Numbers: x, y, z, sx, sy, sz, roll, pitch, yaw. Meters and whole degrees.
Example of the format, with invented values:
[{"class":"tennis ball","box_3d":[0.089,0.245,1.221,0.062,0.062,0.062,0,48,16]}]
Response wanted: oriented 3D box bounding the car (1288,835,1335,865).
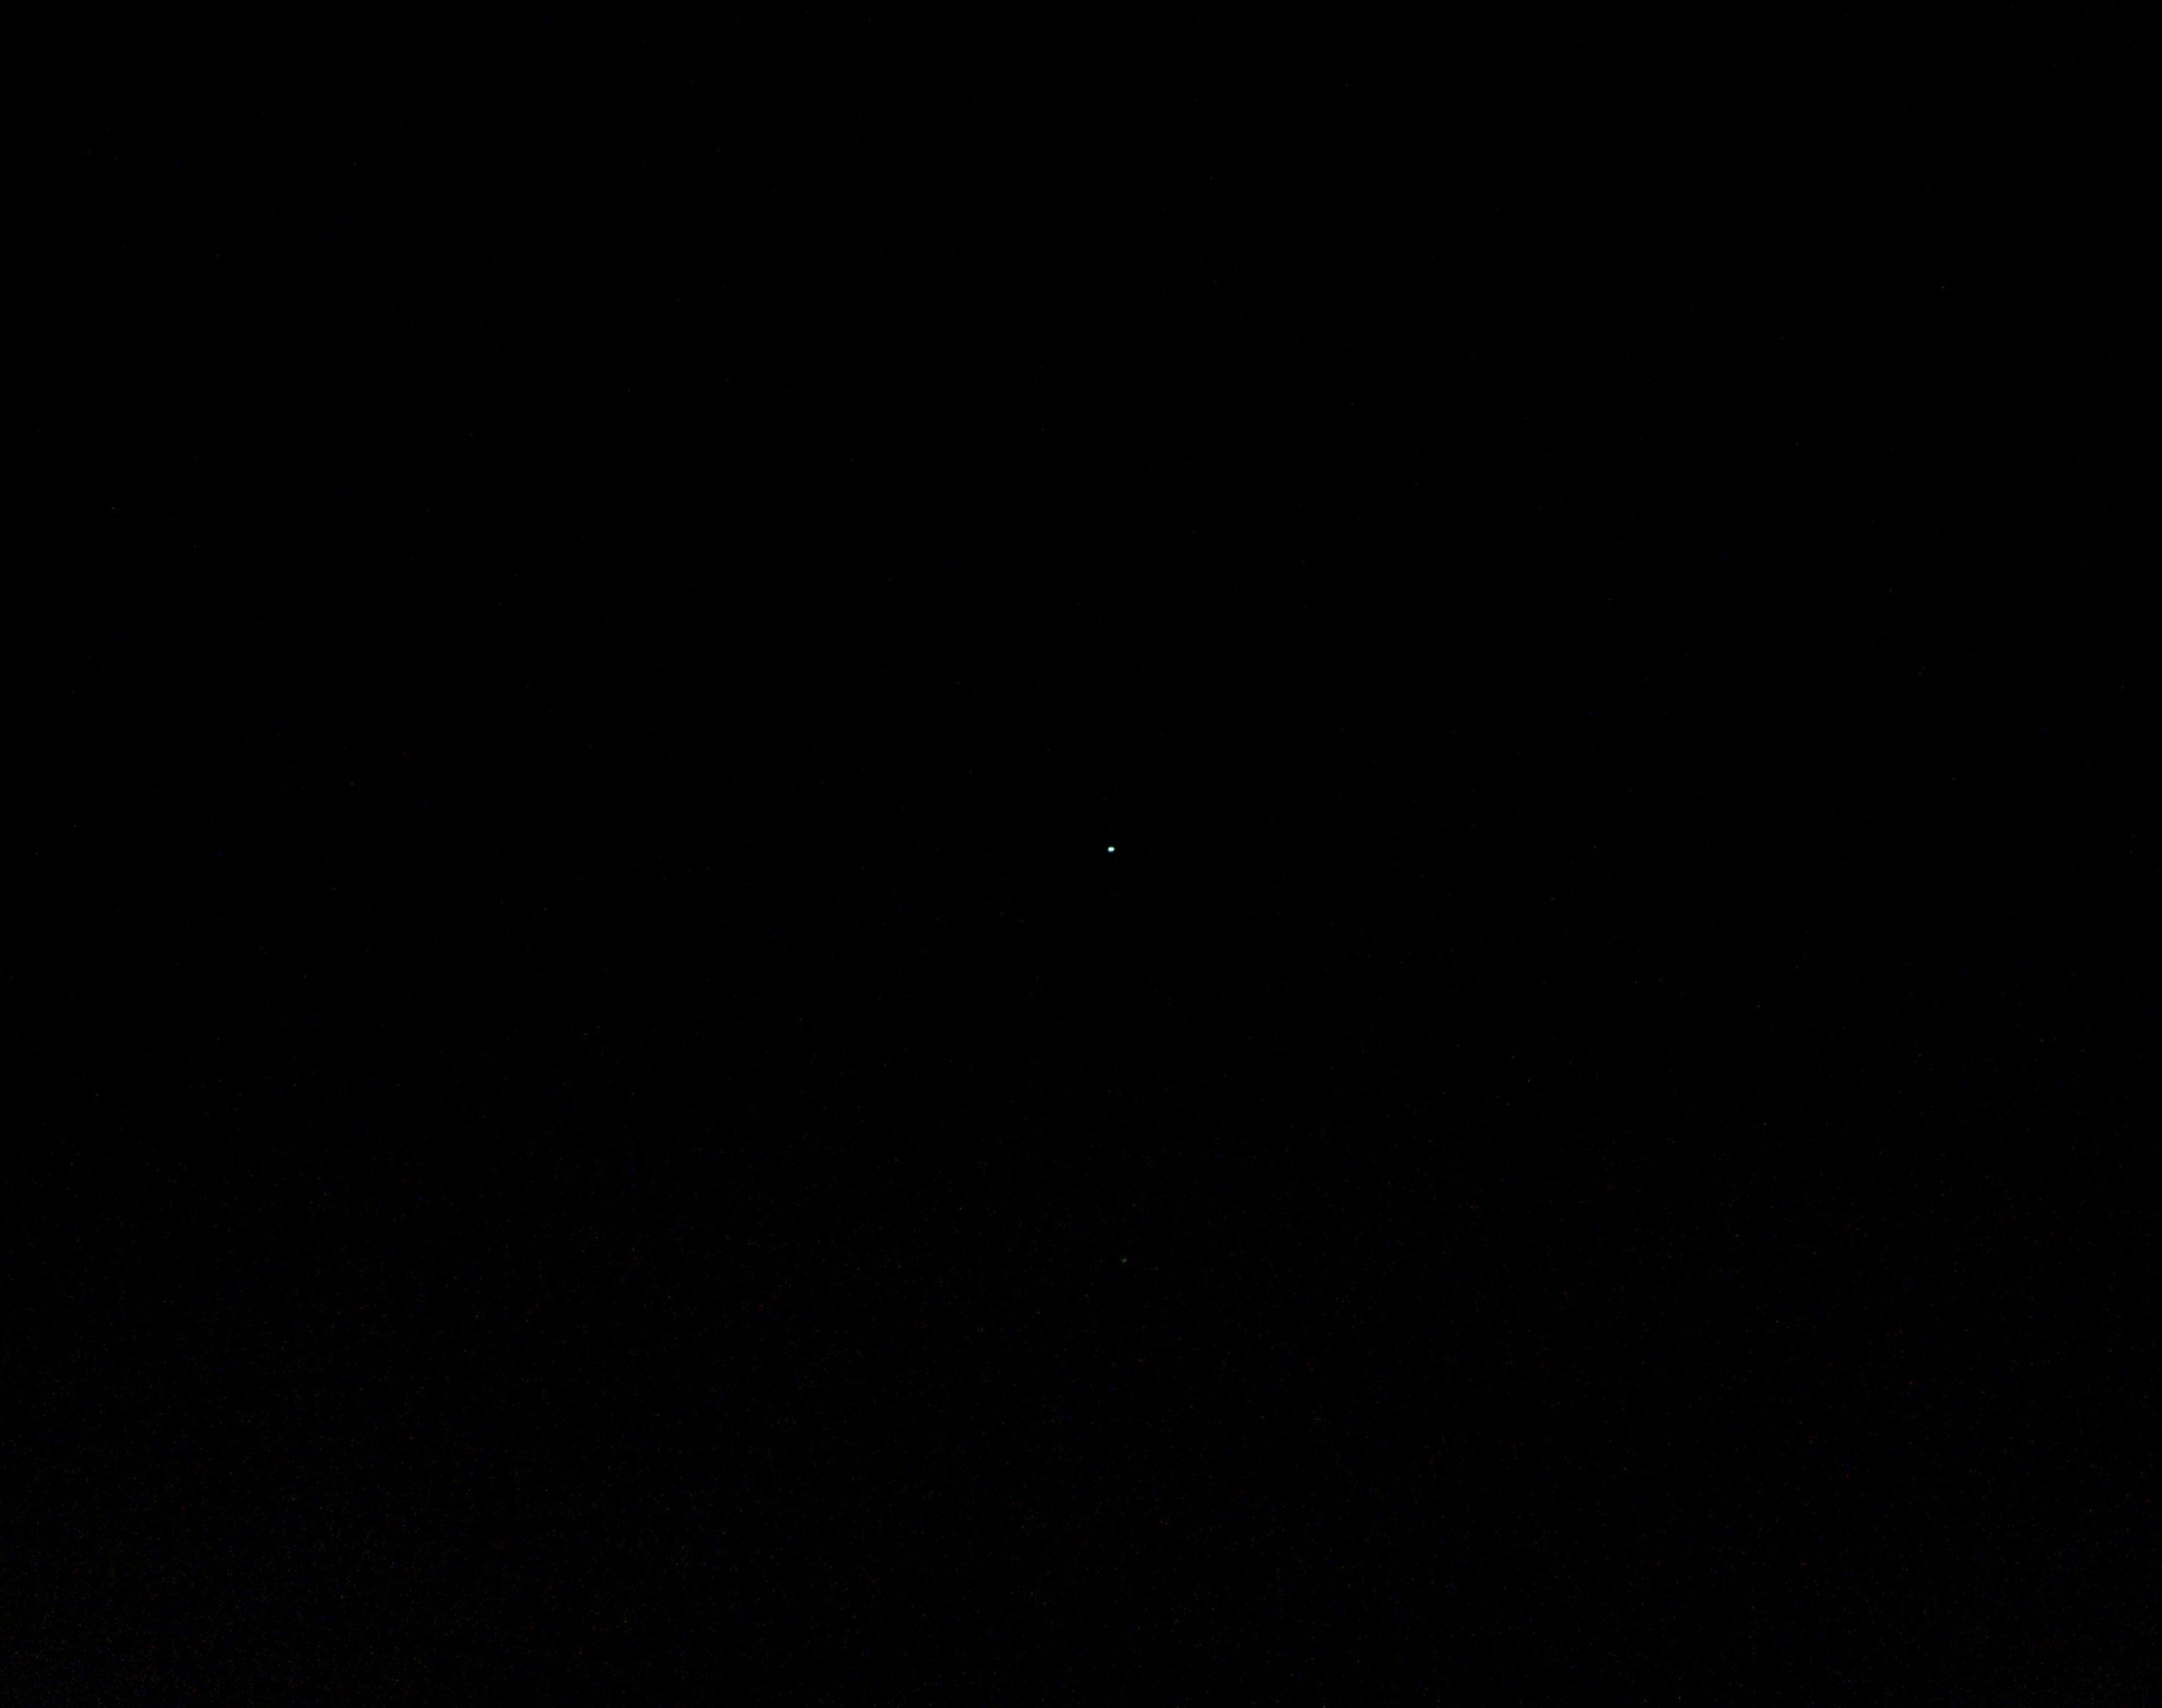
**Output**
[{"class":"car","box_3d":[16.592,-0.280,54.990,1.998,2.002,4.608,-2,1,1]}]
